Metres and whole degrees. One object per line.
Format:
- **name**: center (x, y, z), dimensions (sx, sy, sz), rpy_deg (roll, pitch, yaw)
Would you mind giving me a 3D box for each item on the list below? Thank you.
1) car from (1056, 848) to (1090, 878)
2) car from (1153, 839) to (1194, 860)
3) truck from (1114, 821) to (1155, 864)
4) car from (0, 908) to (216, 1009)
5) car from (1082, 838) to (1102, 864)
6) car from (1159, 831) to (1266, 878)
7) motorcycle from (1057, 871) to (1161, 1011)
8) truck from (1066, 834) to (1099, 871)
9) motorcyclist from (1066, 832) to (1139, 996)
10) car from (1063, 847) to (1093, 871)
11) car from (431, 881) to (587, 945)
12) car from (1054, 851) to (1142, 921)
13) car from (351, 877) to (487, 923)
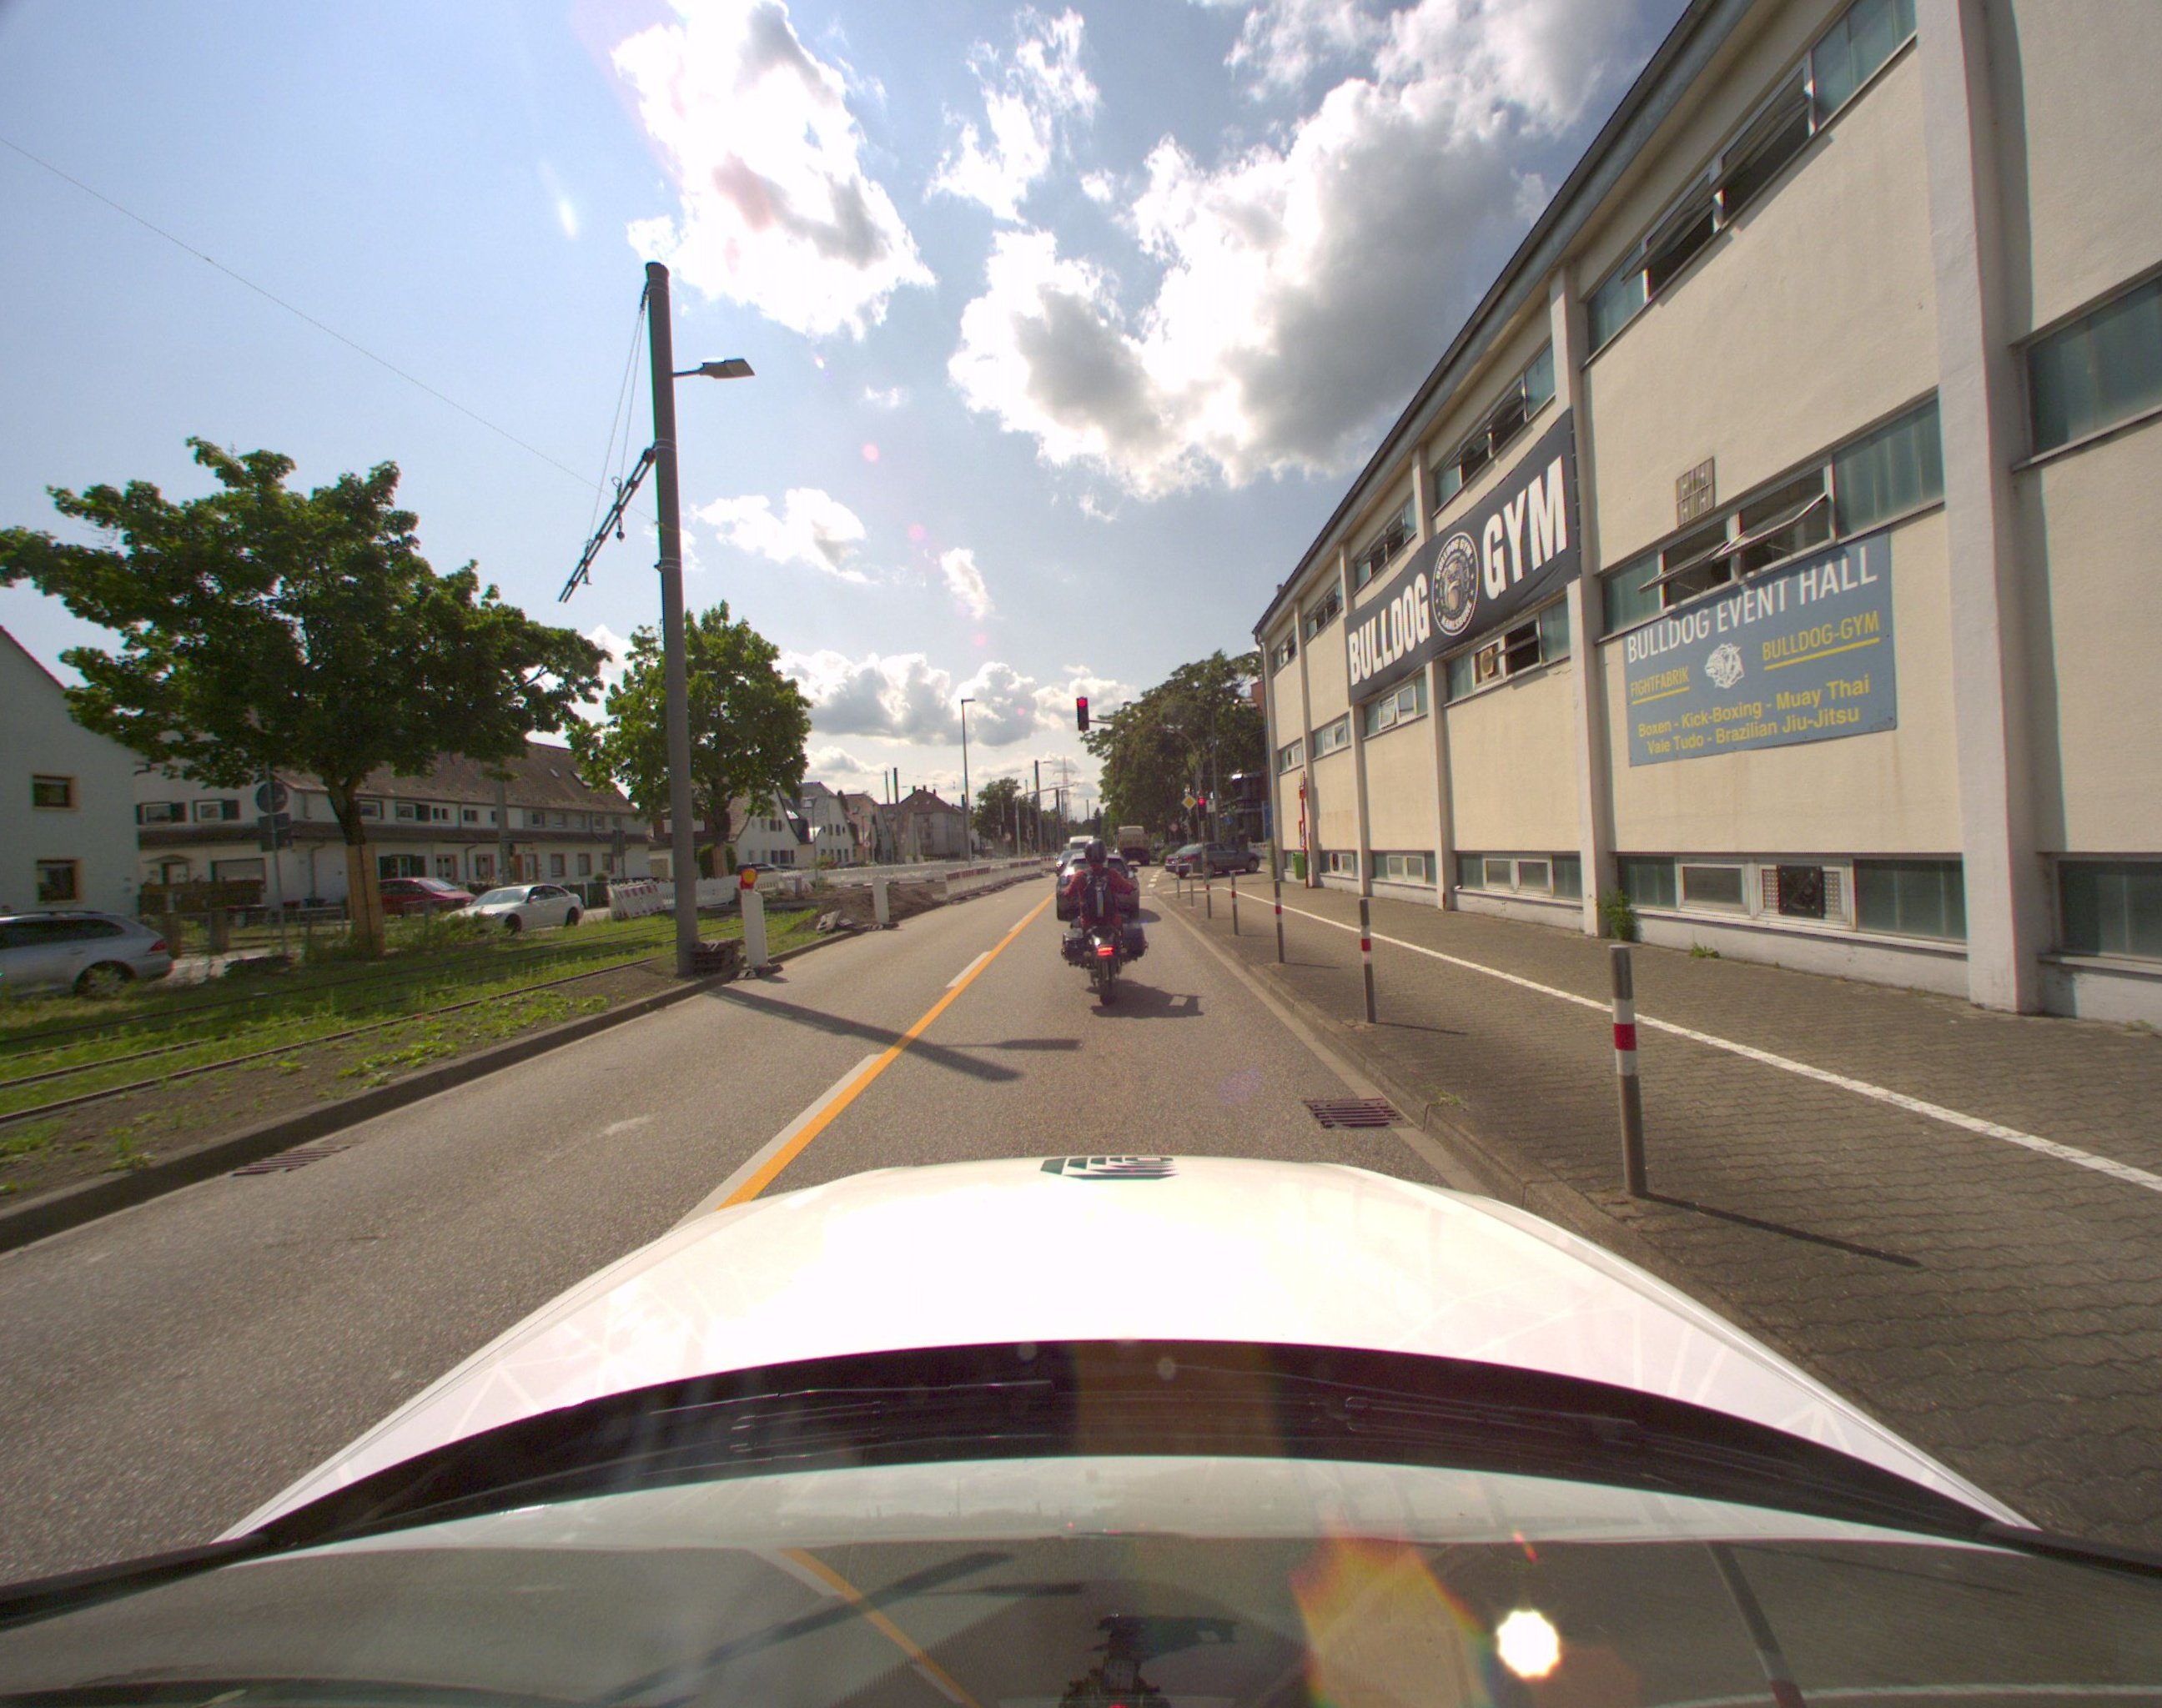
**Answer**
- **car**: center (-0.407, 0.480, 46.267), dimensions (1.638, 1.498, 4.272), rpy_deg (-2, 1, 3)
- **car**: center (8.879, -0.412, 78.022), dimensions (4.023, 1.926, 1.781), rpy_deg (-1, 0, -43)
- **truck**: center (4.316, -0.826, 64.936), dimensions (2.954, 3.173, 7.773), rpy_deg (-1, 0, 4)
- **car**: center (-15.575, 1.565, 12.018), dimensions (1.497, 1.176, 3.749), rpy_deg (-3, 0, 2)
- **car**: center (0.969, -0.240, 71.799), dimensions (1.583, 2.143, 3.629), rpy_deg (-1, 0, 2)
- **car**: center (5.762, 0.008, 35.417), dimensions (4.744, 1.712, 1.885), rpy_deg (-4, 2, -40)
- **motorcycle**: center (0.295, 0.833, 8.753), dimensions (0.939, 1.200, 2.473), rpy_deg (-1, 0, 2)
- **truck**: center (0.166, -0.166, 61.896), dimensions (2.084, 2.476, 5.200), rpy_deg (-4, 2, 2)
- **motorcyclist**: center (0.222, 0.597, 8.421), dimensions (0.695, 1.604, 0.692), rpy_deg (-1, -1, 1)
- **car**: center (-0.167, 0.349, 54.673), dimensions (1.738, 1.437, 4.085), rpy_deg (-4, 0, 2)
- **car**: center (-15.871, 1.578, 22.895), dimensions (1.537, 1.376, 4.246), rpy_deg (-3, 0, -4)
- **car**: center (0.285, 0.644, 18.810), dimensions (1.727, 1.403, 4.082), rpy_deg (-1, 0, -3)
- **car**: center (-26.712, 1.838, 32.936), dimensions (3.973, 1.509, 1.726), rpy_deg (-3, 0, 0)
